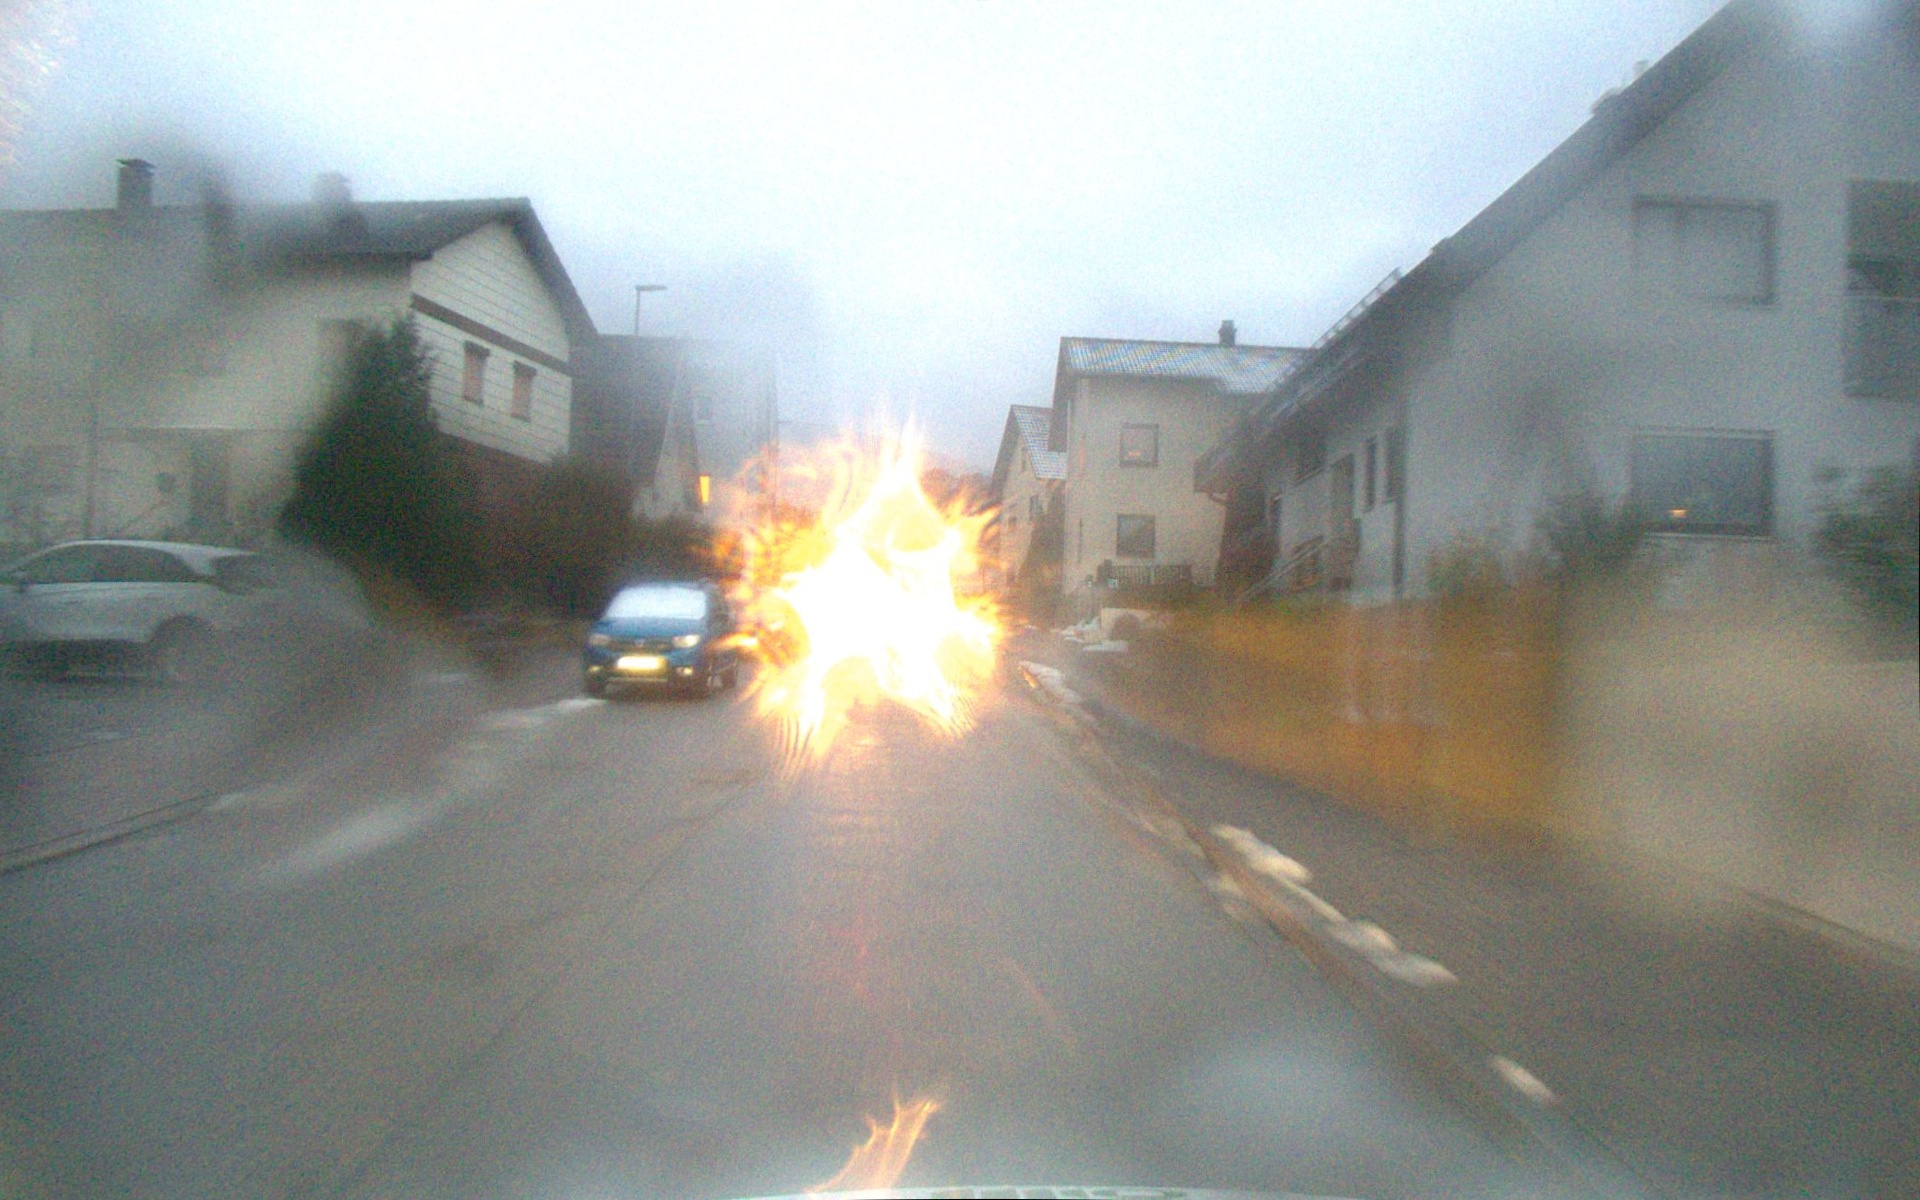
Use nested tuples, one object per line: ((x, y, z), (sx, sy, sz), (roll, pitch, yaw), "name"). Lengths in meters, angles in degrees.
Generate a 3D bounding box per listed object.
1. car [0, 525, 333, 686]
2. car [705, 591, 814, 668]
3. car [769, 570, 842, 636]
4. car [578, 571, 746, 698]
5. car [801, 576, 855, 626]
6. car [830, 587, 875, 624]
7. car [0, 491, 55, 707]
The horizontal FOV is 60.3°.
((-9.622, 0.039, 19.181), (3.904, 1.646, 1.889), (2, 0, 3), "car")
((-4.231, 0.583, 35.410), (1.757, 1.530, 4.310), (0, 0, 1), "car")
((-4.514, 0.062, 48.855), (1.788, 1.867, 4.344), (0, 0, -1), "car")
((-4.125, 0.461, 23.521), (1.649, 1.612, 4.175), (1, 0, -1), "car")
((-5.015, 0.018, 63.139), (1.954, 1.832, 3.998), (0, 0, -3), "car")
((-5.274, 0.281, 81.349), (1.953, 1.679, 3.999), (2, -1, -1), "car")
((-9.854, -0.103, 13.366), (3.904, 1.777, 2.001), (3, 0, 3), "car")
